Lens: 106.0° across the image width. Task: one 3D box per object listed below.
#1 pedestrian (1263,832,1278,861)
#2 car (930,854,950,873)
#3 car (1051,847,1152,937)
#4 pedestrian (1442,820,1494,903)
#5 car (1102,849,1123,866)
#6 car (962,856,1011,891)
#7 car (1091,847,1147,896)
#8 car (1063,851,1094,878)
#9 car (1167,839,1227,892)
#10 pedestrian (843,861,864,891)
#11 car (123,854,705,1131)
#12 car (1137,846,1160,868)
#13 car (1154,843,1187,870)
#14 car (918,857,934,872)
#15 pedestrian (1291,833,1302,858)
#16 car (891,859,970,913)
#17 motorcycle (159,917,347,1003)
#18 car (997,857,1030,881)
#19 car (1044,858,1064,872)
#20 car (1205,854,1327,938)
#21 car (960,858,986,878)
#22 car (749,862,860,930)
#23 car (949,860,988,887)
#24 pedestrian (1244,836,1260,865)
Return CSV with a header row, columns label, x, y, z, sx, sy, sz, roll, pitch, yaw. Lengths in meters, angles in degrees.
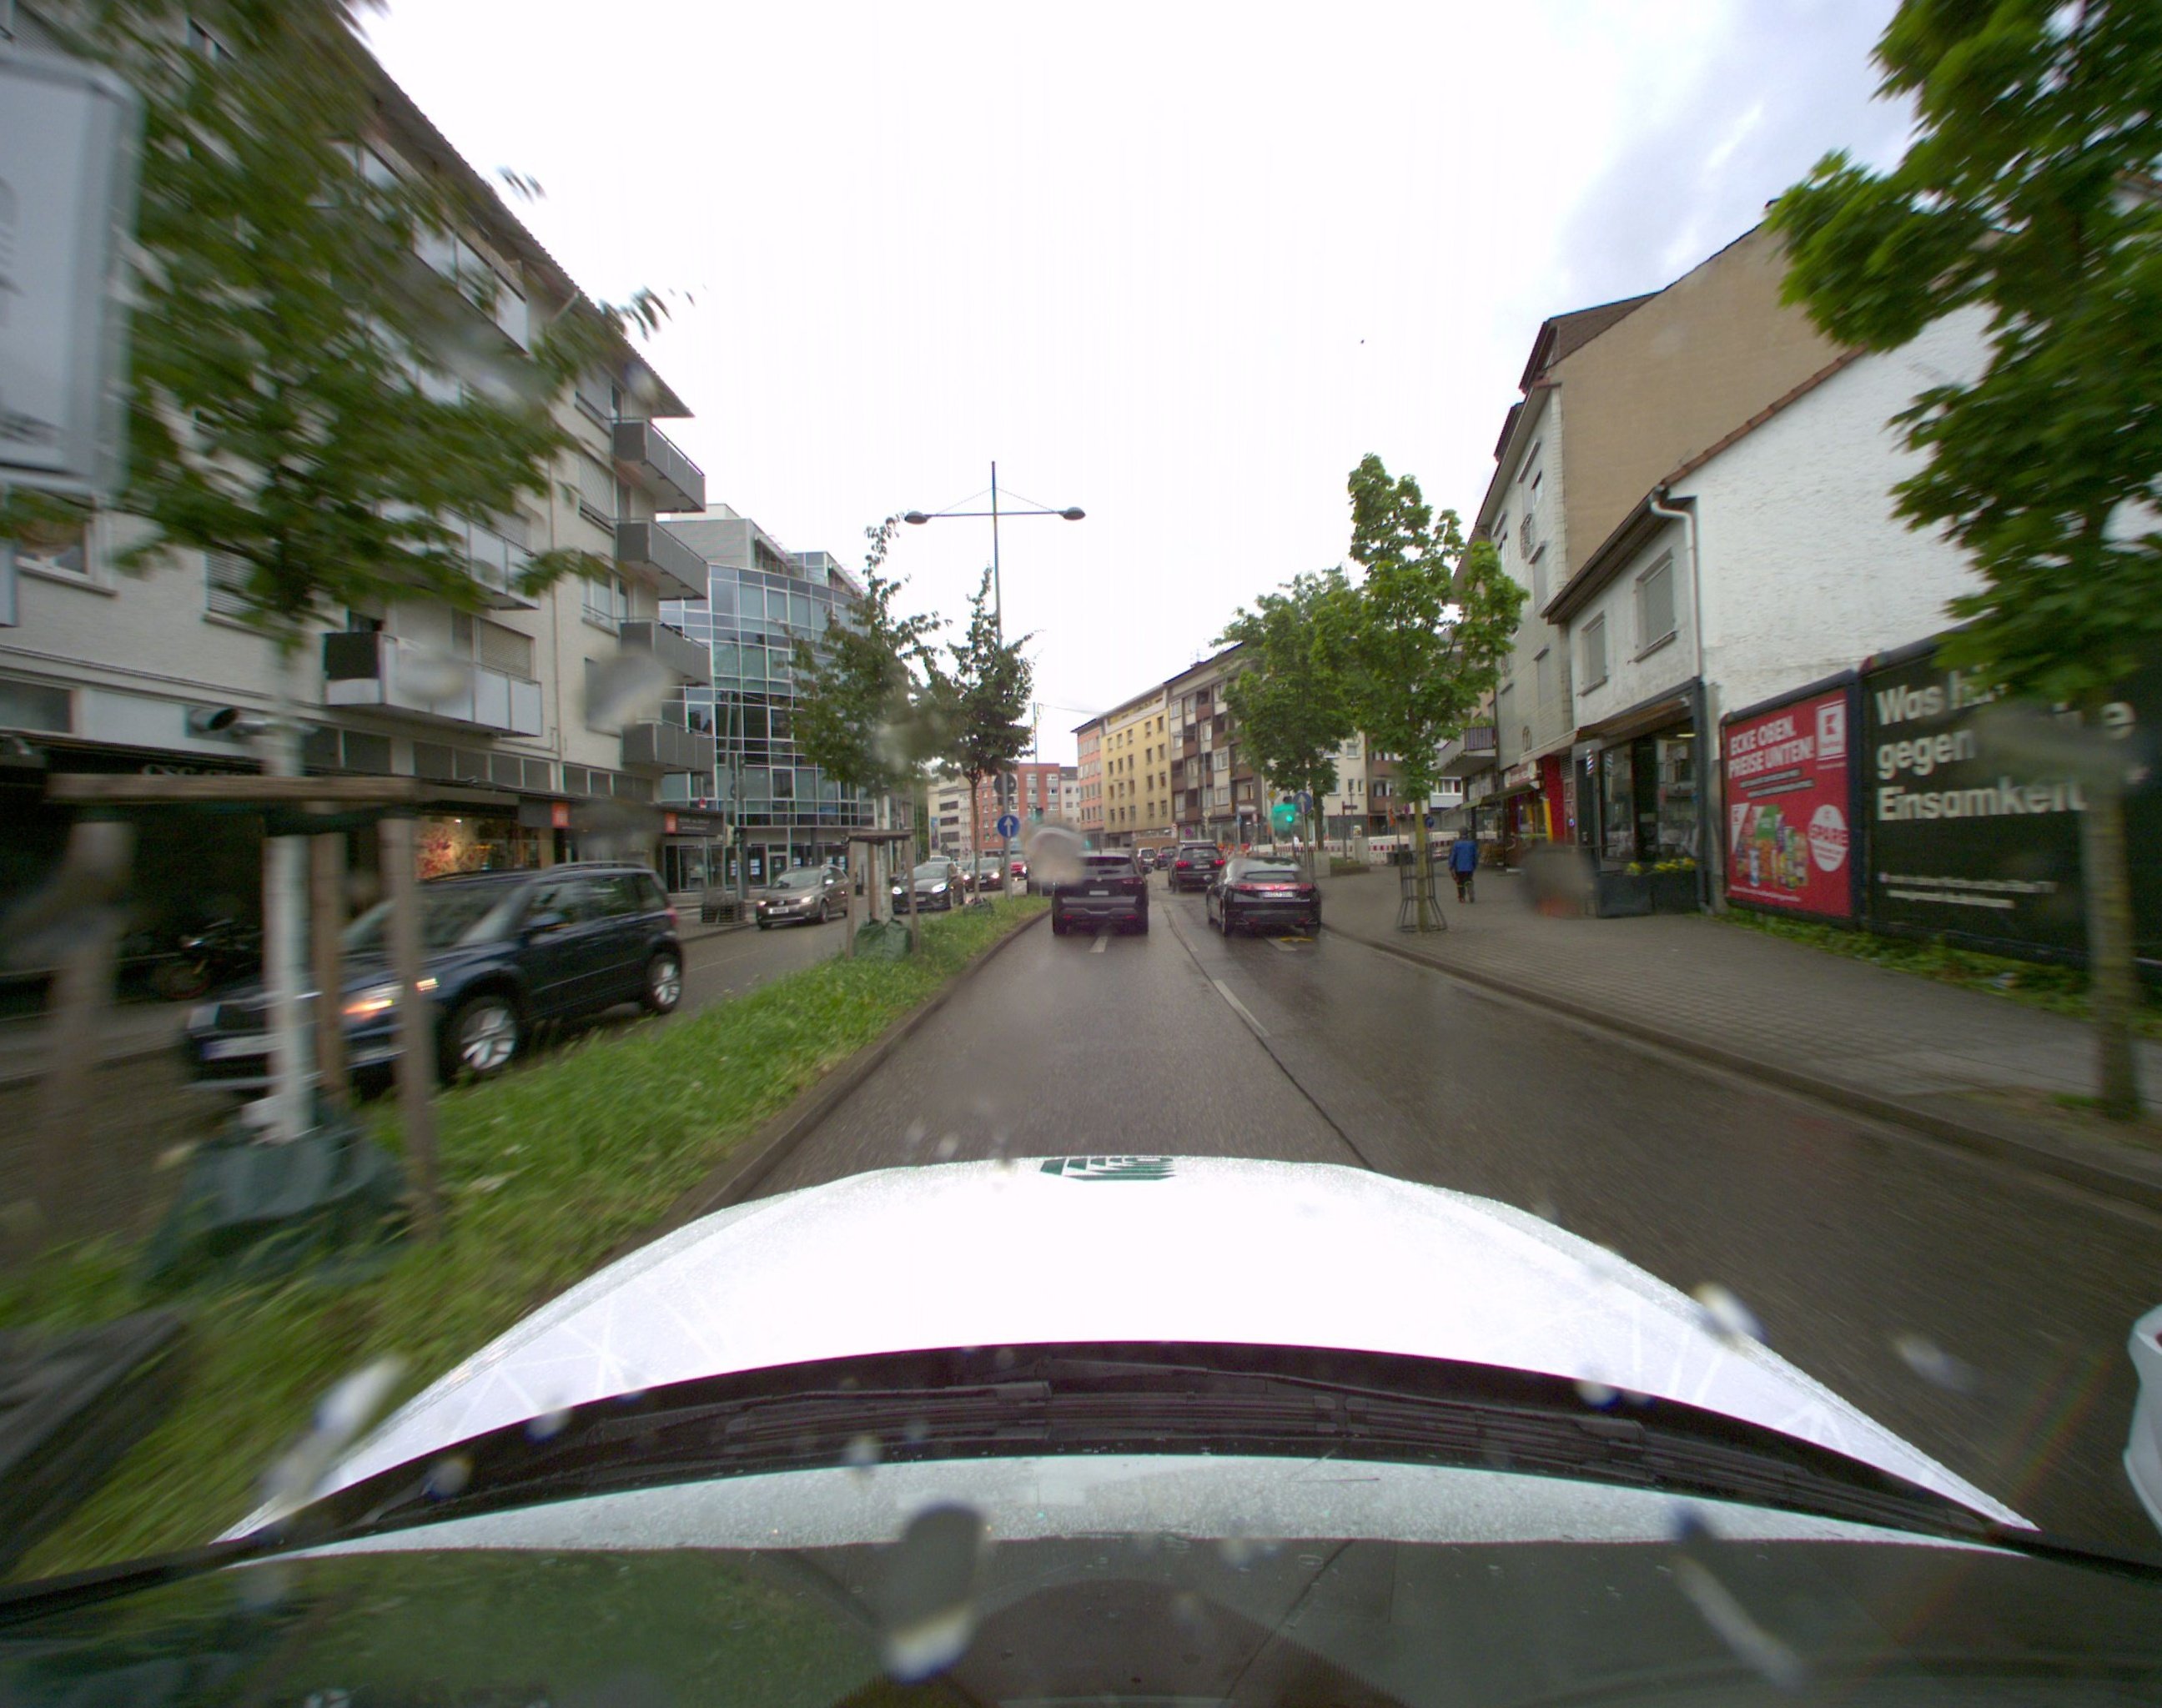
label,x,y,z,sx,sy,sz,roll,pitch,yaw
pedestrian,13.331,-0.501,57.331,0.821,2.013,0.837,0,0,-8
car,-11.806,0.806,68.266,1.549,1.570,3.338,0,-1,-8
car,0.421,0.680,16.580,1.816,1.600,3.719,-1,0,1
pedestrian,8.603,0.157,18.155,0.786,1.755,0.875,-4,0,14
car,2.801,0.270,72.399,1.636,1.381,3.347,-4,0,-1
car,-4.239,0.837,36.990,1.665,1.369,3.753,-4,0,0
car,1.288,0.576,28.582,1.816,1.600,3.719,-1,0,1
car,-0.164,0.596,46.312,1.636,1.381,3.347,-4,0,-1
car,4.208,0.370,30.061,1.823,1.805,3.721,-1,1,2
pedestrian,-12.619,1.240,45.163,0.787,1.591,0.755,-3,0,-36
car,-5.257,0.894,7.312,1.677,1.661,4.097,-4,0,1
car,5.538,0.206,67.035,1.822,1.683,3.723,-1,1,4
car,5.610,0.122,51.573,1.823,1.562,3.721,-1,1,2
car,-15.416,1.029,81.069,1.455,1.430,3.358,0,1,-10
pedestrian,15.728,-0.619,59.386,0.532,1.769,0.617,-1,0,-30
car,-4.560,0.927,25.201,1.527,1.412,3.937,-5,0,1
motorcycle,-12.127,1.511,12.045,0.523,0.995,2.137,0,0,2
car,-4.130,0.902,50.234,1.636,1.321,3.348,-4,0,0
car,-2.984,1.229,89.741,1.642,1.344,3.334,-4,0,-12
car,3.476,0.725,15.910,1.778,1.400,3.723,-1,0,4
car,-8.839,1.103,66.892,1.637,1.490,3.346,-4,0,-2
car,-7.670,1.091,22.948,1.627,1.591,3.937,-5,0,0
car,-5.956,1.022,43.418,1.545,1.290,3.348,-4,0,0
pedestrian,12.093,-0.264,57.663,0.824,2.013,0.835,0,0,-18
